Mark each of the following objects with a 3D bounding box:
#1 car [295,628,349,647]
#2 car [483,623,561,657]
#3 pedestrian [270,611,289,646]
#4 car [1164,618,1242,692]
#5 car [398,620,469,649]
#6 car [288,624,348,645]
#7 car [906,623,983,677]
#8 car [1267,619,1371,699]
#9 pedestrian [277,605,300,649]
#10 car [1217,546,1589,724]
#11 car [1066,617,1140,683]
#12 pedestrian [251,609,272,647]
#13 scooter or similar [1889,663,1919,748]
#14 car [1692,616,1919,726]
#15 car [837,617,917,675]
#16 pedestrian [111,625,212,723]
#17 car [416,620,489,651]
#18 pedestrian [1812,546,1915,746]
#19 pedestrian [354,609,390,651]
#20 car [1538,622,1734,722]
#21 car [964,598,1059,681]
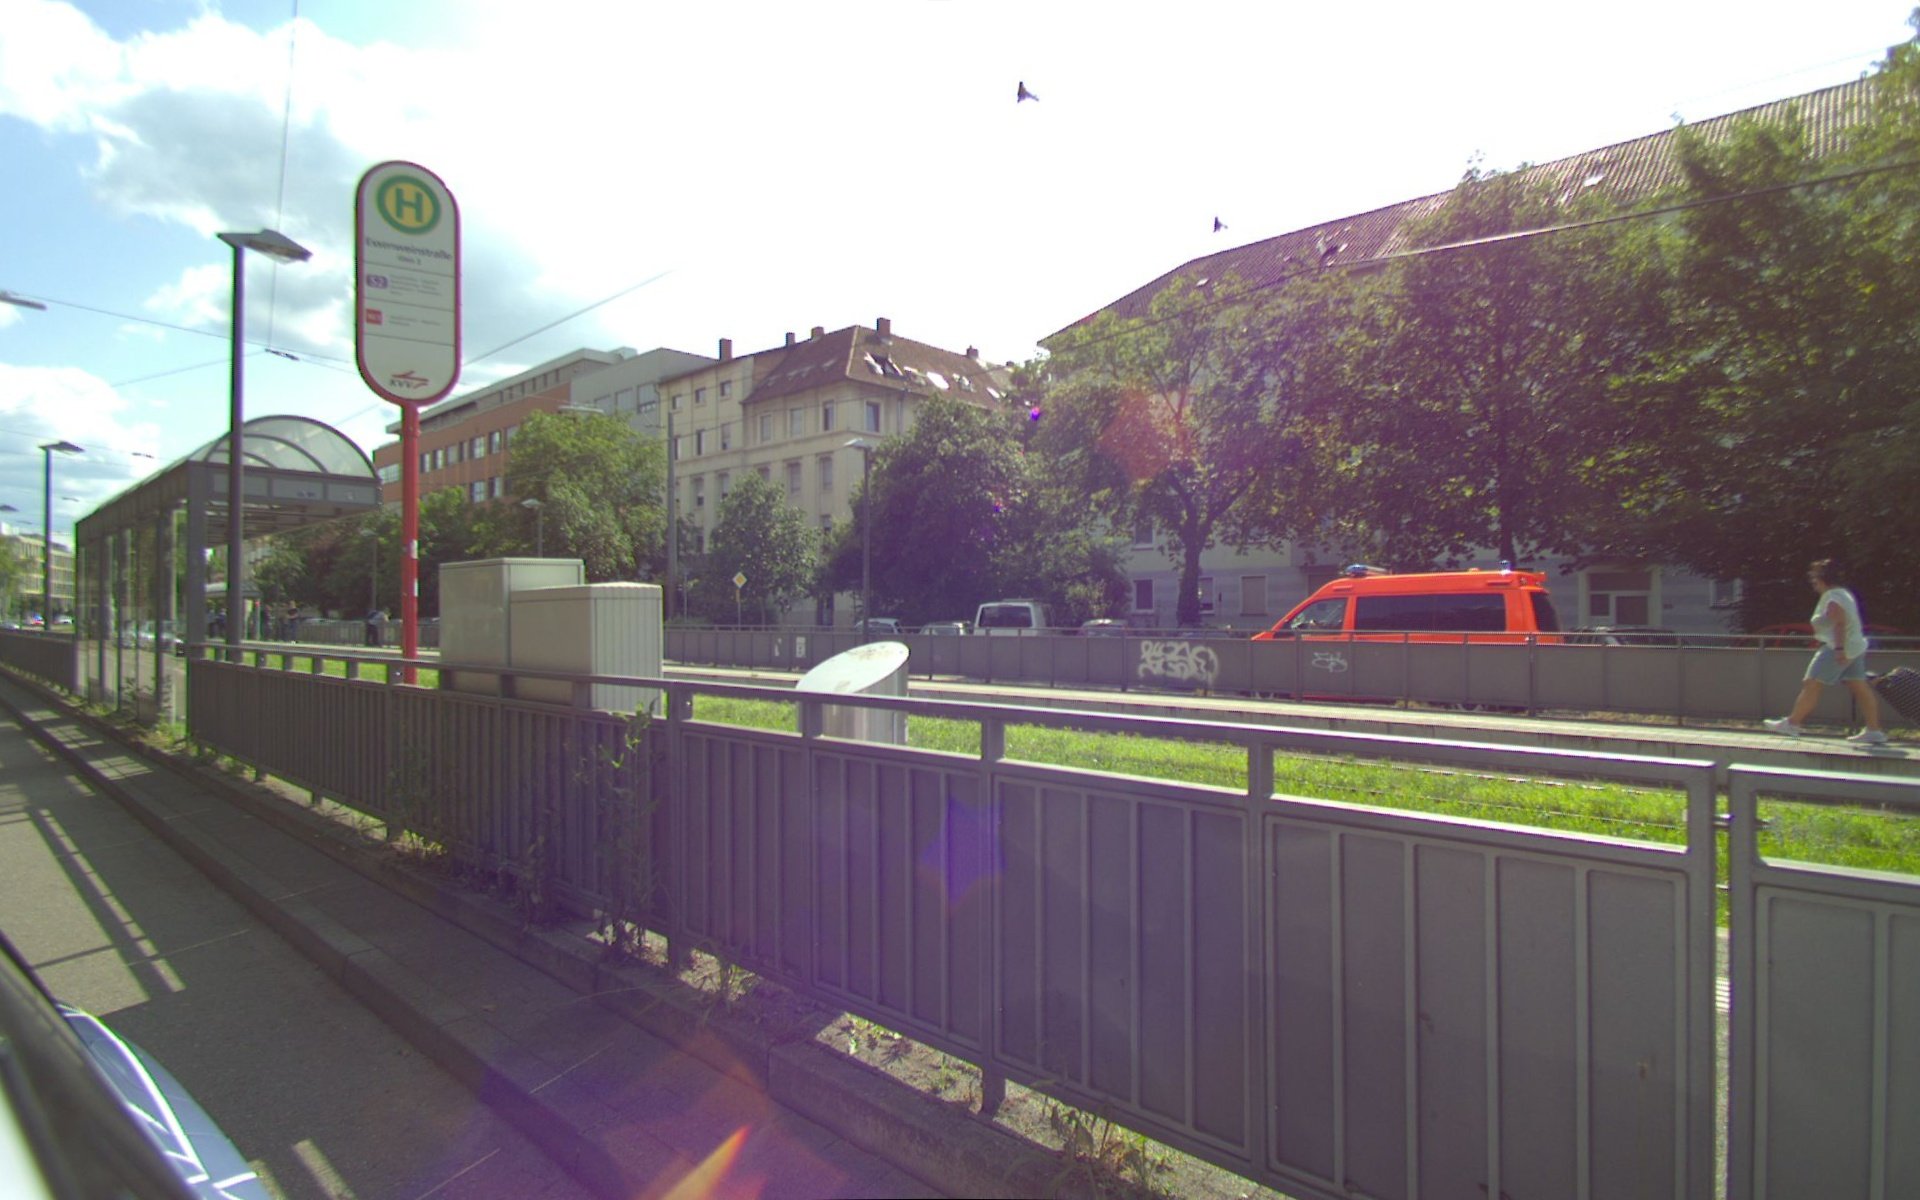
[{"bbox_3d":[-45.813,2.658,72.724,1.585,1.314,3.244,-1,-1,8],"label":"car"},{"bbox_3d":[-21.540,1.936,49.981,1.901,1.576,4.150,1,-1,2],"label":"car"},{"bbox_3d":[-32.729,1.355,48.679,0.625,1.687,0.600,-1,-1,43],"label":"pedestrian"},{"bbox_3d":[5.689,1.242,23.965,1.632,1.591,3.652,-1,-1,12],"label":"car"},{"bbox_3d":[-30.532,1.990,58.771,1.591,1.580,3.988,-1,-1,9],"label":"car"},{"bbox_3d":[-47.969,2.541,75.701,1.631,1.508,3.993,-1,-1,6],"label":"car"},{"bbox_3d":[-0.392,1.447,30.192,1.591,1.497,3.988,-1,-1,9],"label":"car"},{"bbox_3d":[7.744,1.225,22.108,1.632,1.591,3.652,-1,-1,12],"label":"car"},{"bbox_3d":[-29.889,1.189,45.026,0.742,1.906,0.639,1,1,-45],"label":"pedestrian"},{"bbox_3d":[6.587,0.529,15.449,4.833,2.293,1.972,-1,-3,43],"label":"car"},{"bbox_3d":[3.808,1.254,26.519,1.701,1.591,3.937,-1,-1,11],"label":"car"},{"bbox_3d":[-33.297,1.337,48.245,0.599,1.767,0.626,0,-1,-7],"label":"pedestrian"},{"bbox_3d":[8.485,0.913,8.709,0.700,0.704,0.438,-1,-2,42],"label":"scooter or similar"},{"bbox_3d":[13.830,1.065,16.549,1.632,1.591,3.652,-1,-1,12],"label":"car"},{"bbox_3d":[-2.540,1.397,31.842,1.805,1.652,3.992,-2,-1,6],"label":"car"},{"bbox_3d":[-9.164,0.837,11.636,0.652,1.080,0.725,0,-2,-13],"label":"pedestrian"},{"bbox_3d":[-28.401,1.949,56.812,1.811,1.652,4.132,1,-1,3],"label":"car"},{"bbox_3d":[7.985,0.396,8.957,0.632,1.677,0.653,-1,-2,42],"label":"pedestrian"},{"bbox_3d":[-22.881,1.159,39.392,0.798,1.590,0.978,-1,-1,40],"label":"pedestrian"},{"bbox_3d":[11.913,1.193,18.128,1.632,1.591,3.652,-1,-1,12],"label":"car"},{"bbox_3d":[1.504,1.053,27.811,2.029,2.086,3.937,-1,-1,12],"label":"car"}]
